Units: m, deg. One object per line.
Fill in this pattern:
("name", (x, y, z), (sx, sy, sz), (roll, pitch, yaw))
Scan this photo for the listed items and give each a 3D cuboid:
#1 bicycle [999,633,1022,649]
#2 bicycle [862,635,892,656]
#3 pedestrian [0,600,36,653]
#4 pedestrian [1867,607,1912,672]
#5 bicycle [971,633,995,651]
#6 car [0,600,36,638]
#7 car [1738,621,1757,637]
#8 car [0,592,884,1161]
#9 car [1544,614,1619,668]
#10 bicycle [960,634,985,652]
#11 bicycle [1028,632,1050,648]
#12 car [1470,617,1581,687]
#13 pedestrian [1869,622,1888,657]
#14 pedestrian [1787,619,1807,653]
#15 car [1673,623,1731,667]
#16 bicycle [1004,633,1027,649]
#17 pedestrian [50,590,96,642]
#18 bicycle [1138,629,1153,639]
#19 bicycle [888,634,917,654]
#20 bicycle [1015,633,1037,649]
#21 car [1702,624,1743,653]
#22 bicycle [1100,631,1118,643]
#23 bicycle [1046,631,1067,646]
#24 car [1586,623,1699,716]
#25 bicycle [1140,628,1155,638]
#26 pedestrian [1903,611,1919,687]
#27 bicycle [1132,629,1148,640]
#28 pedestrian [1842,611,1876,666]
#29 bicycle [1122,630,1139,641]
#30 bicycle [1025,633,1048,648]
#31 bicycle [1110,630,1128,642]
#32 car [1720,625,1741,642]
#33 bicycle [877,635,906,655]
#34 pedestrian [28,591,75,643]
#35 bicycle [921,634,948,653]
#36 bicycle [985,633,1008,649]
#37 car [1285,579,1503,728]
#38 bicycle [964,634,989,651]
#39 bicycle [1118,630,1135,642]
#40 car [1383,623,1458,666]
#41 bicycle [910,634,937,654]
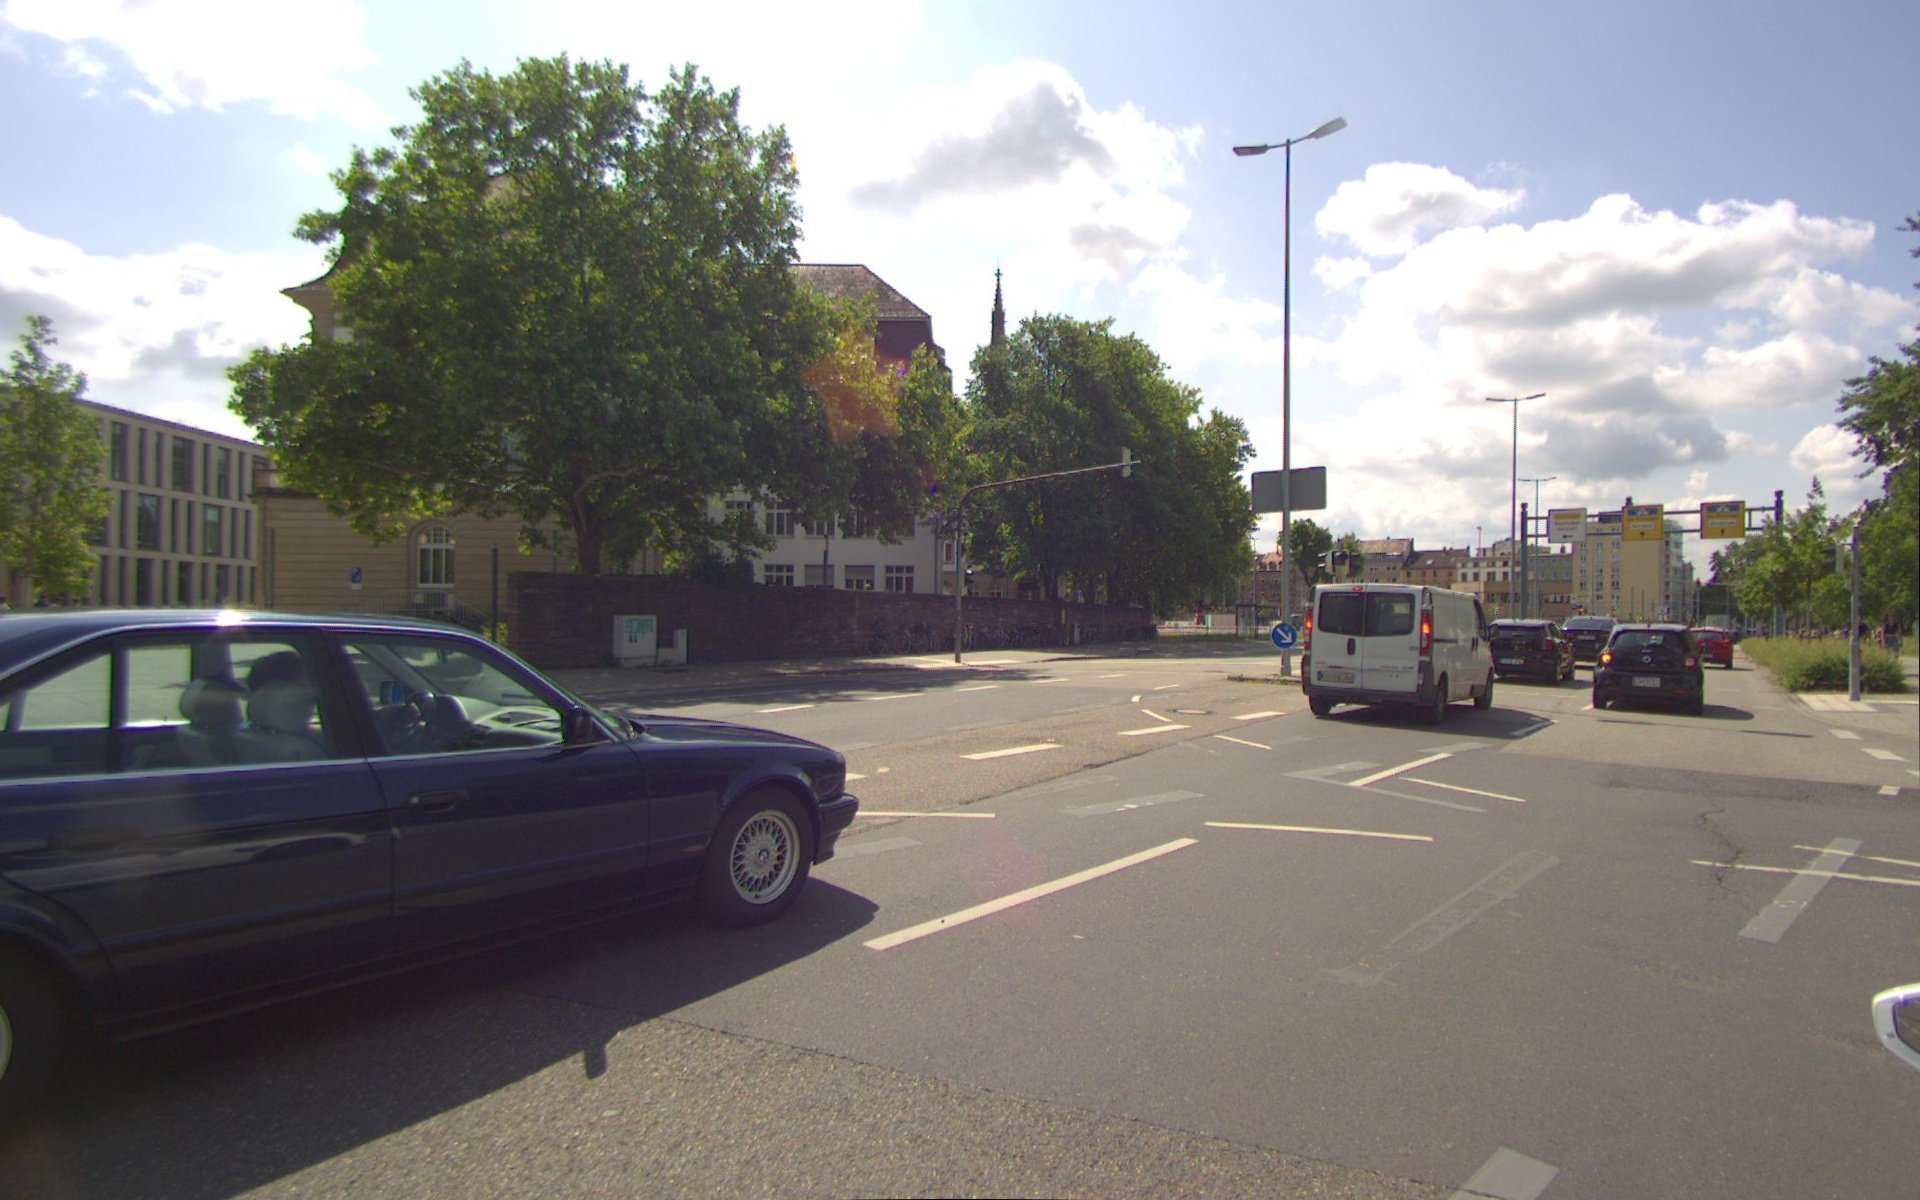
("bicycle", (2.288, 1.873, 45.813), (0.988, 0.691, 0.408), (2, 0, -5))
("bicycle", (-2.937, 1.610, 35.519), (0.987, 0.691, 0.409), (2, 0, 8))
("pedestrian", (-33.120, 0.912, 35.109), (0.798, 1.814, 0.844), (1, 0, 3))
("pedestrian", (27.710, 1.176, 29.953), (0.827, 1.893, 1.016), (0, -1, 34))
("bicycle", (0.980, 1.807, 43.295), (0.988, 0.691, 0.408), (2, 0, -5))
("car", (-35.683, 0.677, 35.386), (1.960, 1.323, 4.495), (2, 0, 2))
("car", (107.528, 3.969, 137.063), (1.920, 1.989, 3.933), (2, 0, 39))
("car", (-2.458, 0.708, 3.796), (1.670, 1.405, 4.595), (2, 0, 38))
("car", (20.581, 1.319, 33.190), (1.803, 1.622, 4.378), (2, 0, 36))
("bicycle", (0.509, 1.782, 41.911), (0.988, 0.691, 0.408), (2, 0, -5))
("bicycle", (3.862, 1.953, 49.156), (0.988, 0.691, 0.408), (2, 0, -5))
("car", (14.556, 1.263, 25.708), (1.990, 1.550, 4.871), (1, -1, 35))
("pedestrian", (50.905, 2.185, 55.671), (0.493, 1.915, 0.561), (2, 0, 14))
("pedestrian", (48.929, 2.097, 58.714), (0.827, 1.995, 0.858), (0, -1, 34))
("car", (26.988, 1.608, 36.622), (1.590, 1.430, 3.505), (2, 1, 36))
("bicycle", (2.569, 1.887, 46.369), (0.988, 0.691, 0.408), (2, 0, -5))
("pedestrian", (-31.347, 0.572, 35.497), (0.848, 1.814, 0.844), (1, 0, 3))
("bicycle", (13.535, 2.461, 73.186), (0.988, 0.691, 0.408), (2, 0, -5))
("bicycle", (-2.142, 1.652, 37.415), (0.987, 0.691, 0.409), (2, 0, 8))
("bicycle", (3.102, 1.912, 47.221), (0.988, 0.691, 0.408), (2, 0, -5))
("car", (41.469, 2.074, 54.688), (1.590, 1.430, 3.505), (2, 1, 36))
("bicycle", (8.868, 2.208, 59.893), (0.988, 0.691, 0.408), (2, 0, -5))
("bicycle", (4.959, 1.960, 51.455), (0.988, 0.691, 0.408), (2, 0, -5))
("car", (12.775, 1.215, 18.769), (1.590, 1.504, 3.505), (1, -1, 36))
("bicycle", (13.999, 2.489, 75.102), (0.988, 0.691, 0.408), (2, 0, -5))
("pedestrian", (22.341, 1.125, 23.081), (0.840, 1.723, 0.928), (-1, -2, 36))
("bicycle", (12.379, 2.395, 69.157), (0.988, 0.691, 0.408), (2, 0, -5))
("pedestrian", (33.330, 1.401, 37.248), (0.827, 1.995, 0.858), (0, -1, 34))
("bicycle", (11.242, 2.334, 66.180), (0.988, 0.691, 0.408), (2, 0, -5))
("bicycle", (3.680, 1.942, 48.382), (0.988, 0.691, 0.408), (2, 0, -5))
("bicycle", (9.930, 2.265, 62.759), (0.988, 0.691, 0.408), (2, 0, -5))
("car", (84.954, 3.682, 110.747), (1.714, 1.686, 3.933), (2, 0, 39))
("bicycle", (-2.487, 1.634, 36.596), (0.987, 0.691, 0.409), (2, 0, 8))
("pedestrian", (-32.148, 0.605, 35.547), (0.874, 1.814, 0.844), (1, 0, 3))
("bicycle", (-1.020, 1.709, 39.741), (0.987, 0.691, 0.409), (2, 0, 8))
("bicycle", (1.640, 1.842, 44.963), (0.988, 0.691, 0.408), (2, 0, -5))
("car", (7.129, 0.764, 16.141), (1.981, 1.981, 5.173), (2, 0, 37))
("bicycle", (0.703, 1.793, 42.575), (0.988, 0.691, 0.408), (2, 0, -5))
("bicycle", (10.732, 2.307, 64.746), (0.988, 0.691, 0.408), (2, 0, -5))
("car", (17.501, 1.652, 38.072), (1.726, 1.491, 3.790), (1, -1, 38))
("bicycle", (-1.399, 1.688, 38.591), (0.987, 0.691, 0.409), (2, 0, 8))
